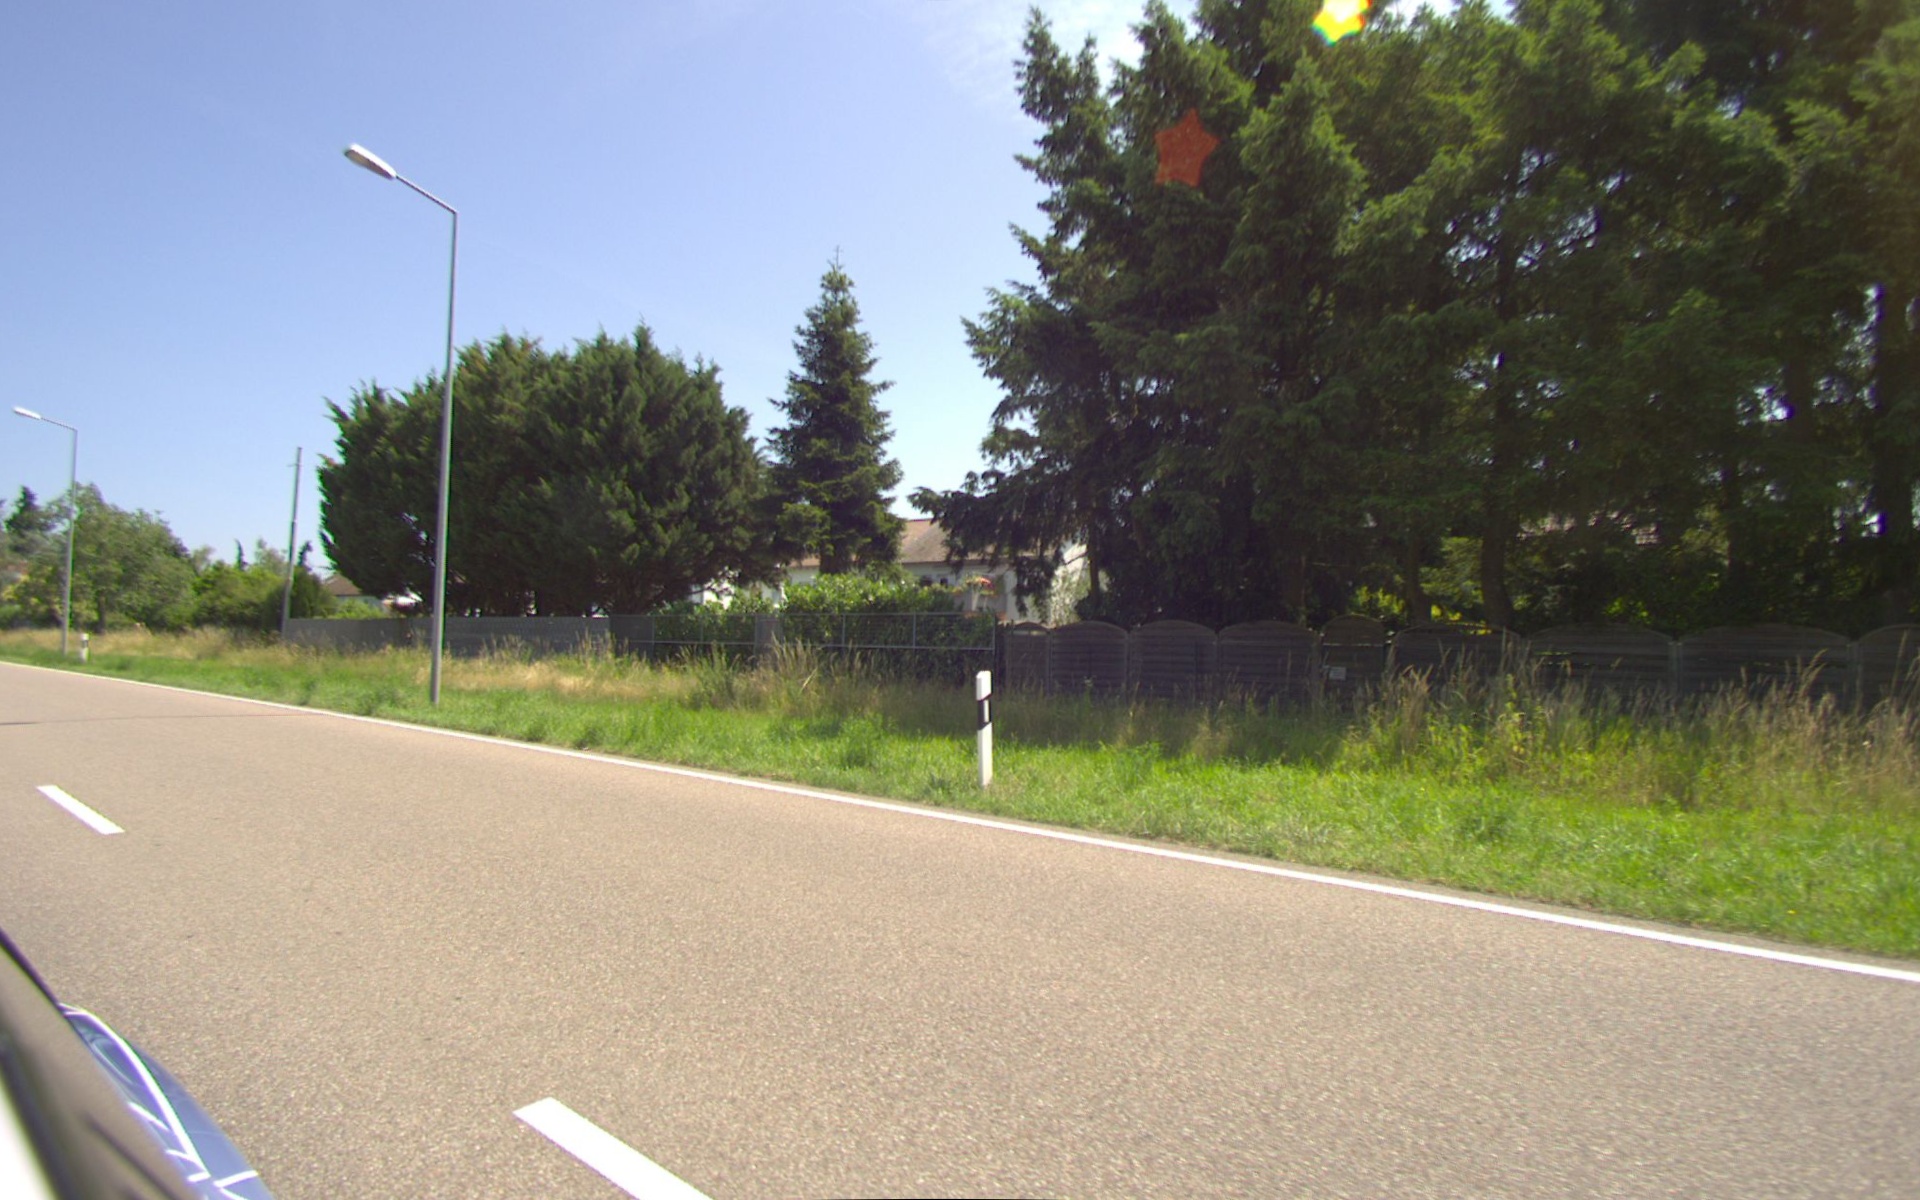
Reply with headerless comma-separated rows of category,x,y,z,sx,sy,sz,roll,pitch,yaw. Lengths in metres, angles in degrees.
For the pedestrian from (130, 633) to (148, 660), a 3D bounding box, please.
pedestrian,-45.042,2.537,55.525,0.633,1.489,0.603,-2,-3,39
